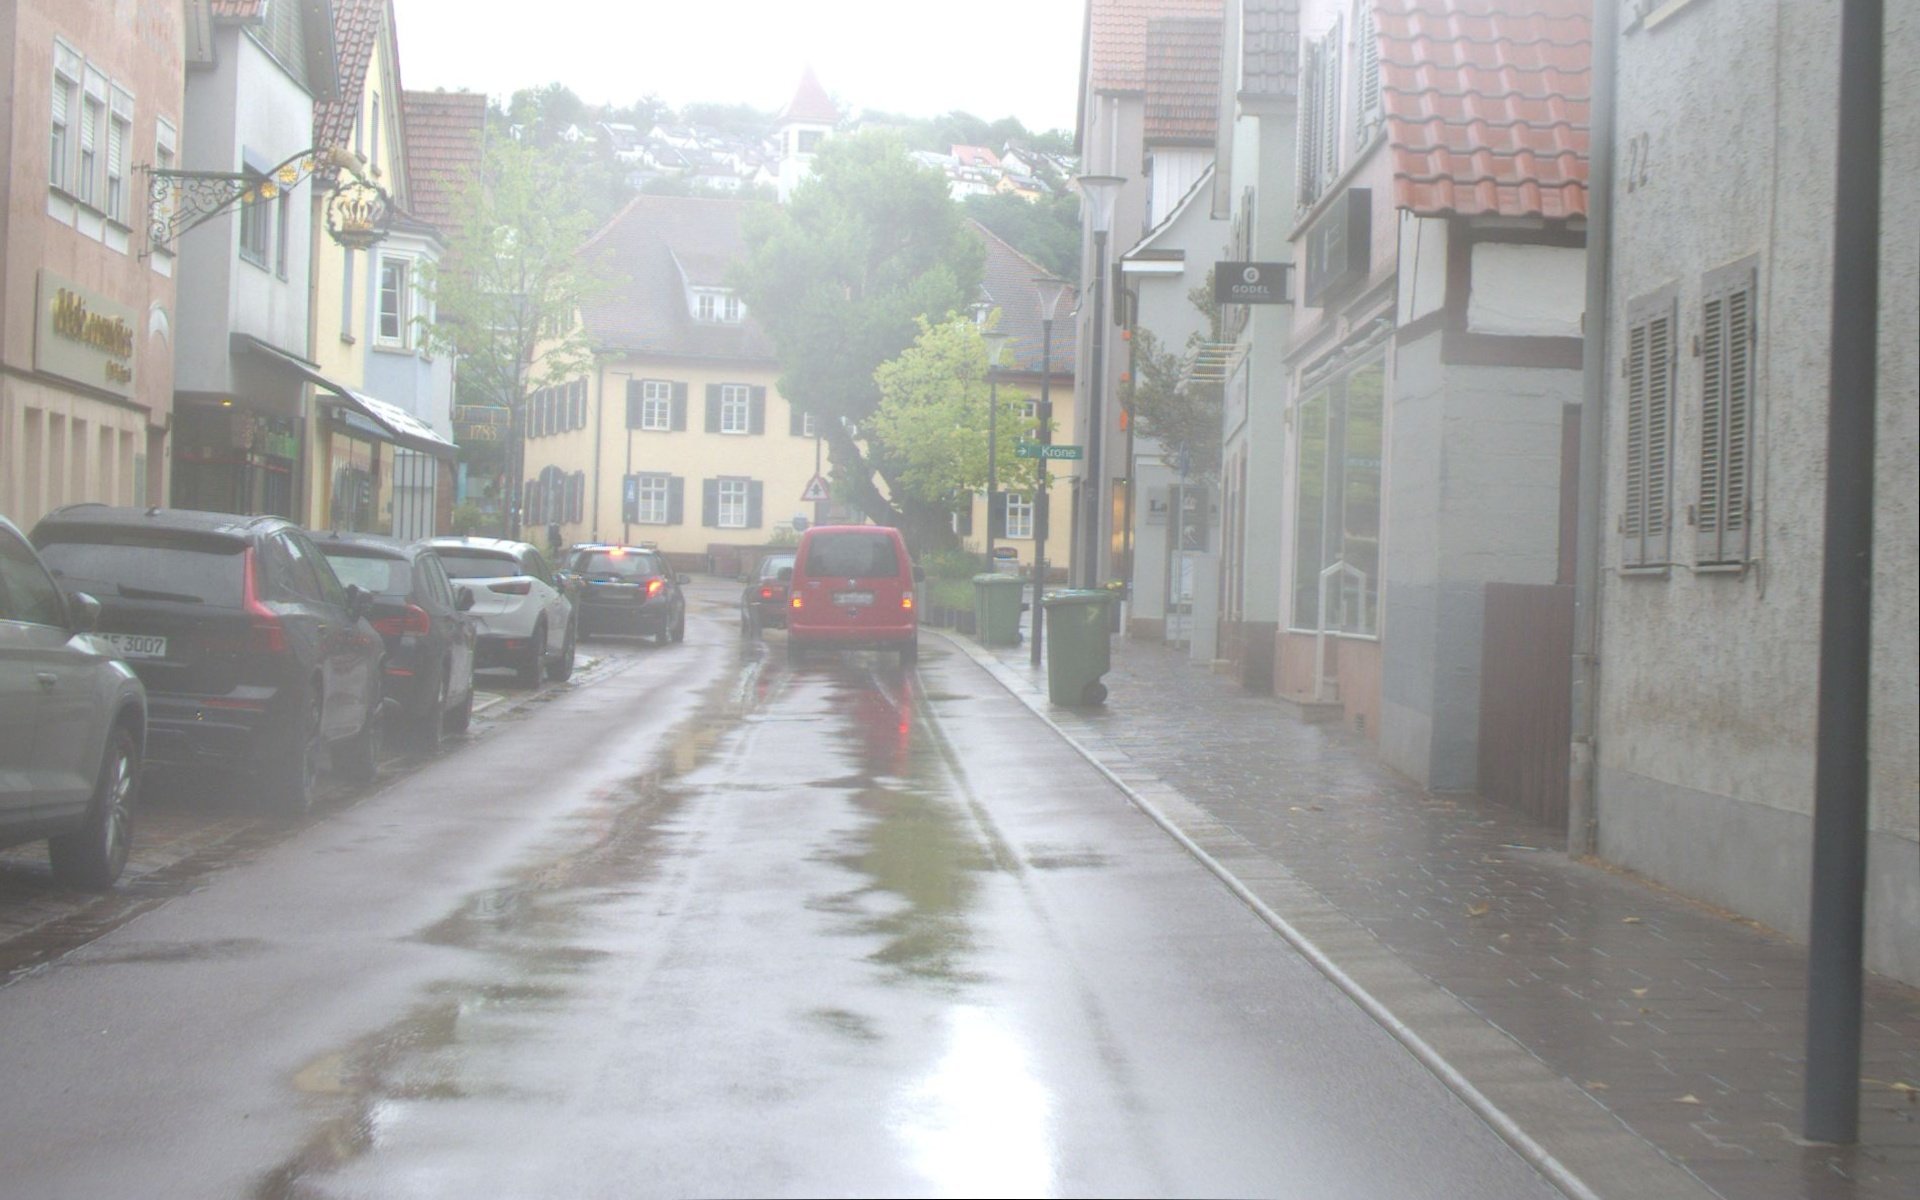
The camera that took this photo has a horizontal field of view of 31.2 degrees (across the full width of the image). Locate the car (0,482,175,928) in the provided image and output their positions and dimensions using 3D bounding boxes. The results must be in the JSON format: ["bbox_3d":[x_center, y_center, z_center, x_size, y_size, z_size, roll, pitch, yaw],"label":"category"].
[{"bbox_3d":[-4.474,0.360,13.274,1.824,1.660,4.642,3,-1,-1],"label":"car"}]

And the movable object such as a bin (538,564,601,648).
[{"bbox_3d":[-5.094,0.081,44.878,0.709,1.049,0.704,3,-1,0],"label":"movable object such as a bin"}]

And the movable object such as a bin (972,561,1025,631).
[{"bbox_3d":[0.605,-0.060,54.259,0.768,1.076,0.599,3,-1,0],"label":"movable object such as a bin"}]

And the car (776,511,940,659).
[{"bbox_3d":[-1.343,-0.249,46.644,1.894,1.805,4.000,4,2,1],"label":"car"}]

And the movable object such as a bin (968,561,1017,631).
[{"bbox_3d":[0.526,-0.067,55.469,0.729,1.087,0.521,3,-1,0],"label":"movable object such as a bin"}]

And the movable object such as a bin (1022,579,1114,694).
[{"bbox_3d":[1.039,0.352,33.203,0.796,1.077,0.583,2,0,-4],"label":"movable object such as a bin"}]

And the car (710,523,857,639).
[{"bbox_3d":[-3.004,-0.301,57.876,1.993,1.793,4.001,3,-1,-9],"label":"car"}]

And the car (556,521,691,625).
[{"bbox_3d":[-5.193,-0.450,53.410,1.691,1.438,3.885,3,2,-1],"label":"car"}]

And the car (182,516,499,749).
[{"bbox_3d":[-4.638,0.177,26.279,1.779,1.533,4.291,3,2,-3],"label":"car"}]

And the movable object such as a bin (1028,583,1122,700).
[{"bbox_3d":[1.082,0.390,32.497,0.792,1.077,0.615,2,0,-4],"label":"movable object such as a bin"}]

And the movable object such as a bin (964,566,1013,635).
[{"bbox_3d":[0.466,0.014,56.115,0.735,1.094,0.611,2,-1,-2],"label":"movable object such as a bin"}]

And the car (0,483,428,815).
[{"bbox_3d":[-4.448,0.179,20.424,1.824,1.660,4.643,3,2,-1],"label":"car"}]

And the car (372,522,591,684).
[{"bbox_3d":[-5.084,-0.020,36.990,1.692,1.533,4.121,3,2,0],"label":"car"}]
